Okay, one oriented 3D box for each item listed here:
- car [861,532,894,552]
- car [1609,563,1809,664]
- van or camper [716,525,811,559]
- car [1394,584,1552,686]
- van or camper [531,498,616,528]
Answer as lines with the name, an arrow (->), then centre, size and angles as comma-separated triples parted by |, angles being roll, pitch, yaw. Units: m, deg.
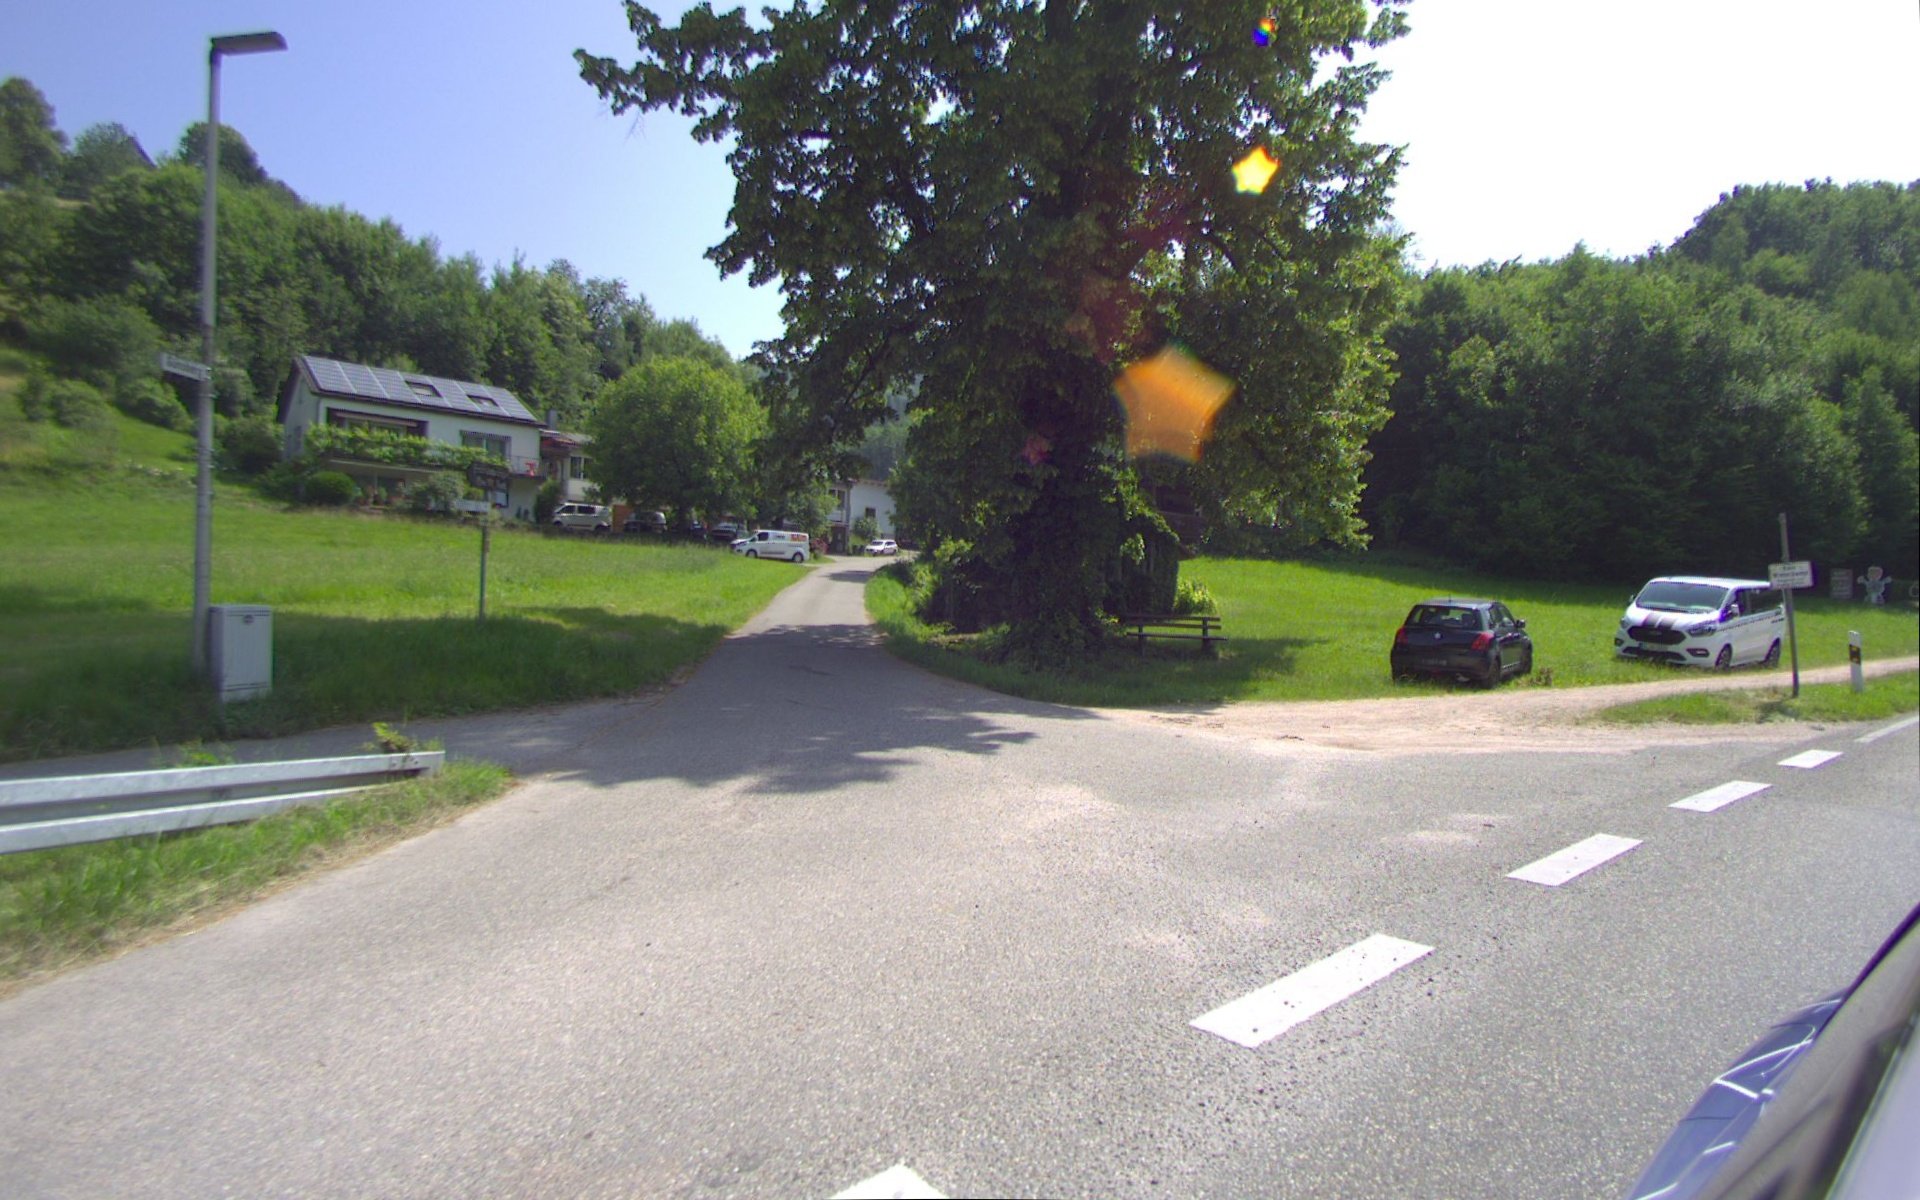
car -> -7.339, -5.192, 90.700 | 1.968, 1.638, 3.989 | 1, 1, 10
car -> 16.640, 0.232, 22.409 | 4.776, 1.870, 2.008 | 0, 6, -35
van or camper -> -12.641, -3.696, 65.185 | 5.334, 1.974, 2.818 | 0, 1, -36
car -> 9.330, 0.535, 18.283 | 1.672, 1.474, 3.662 | 4, 5, 41
van or camper -> -25.902, -5.785, 67.932 | 2.027, 1.662, 4.965 | 2, 2, 45
